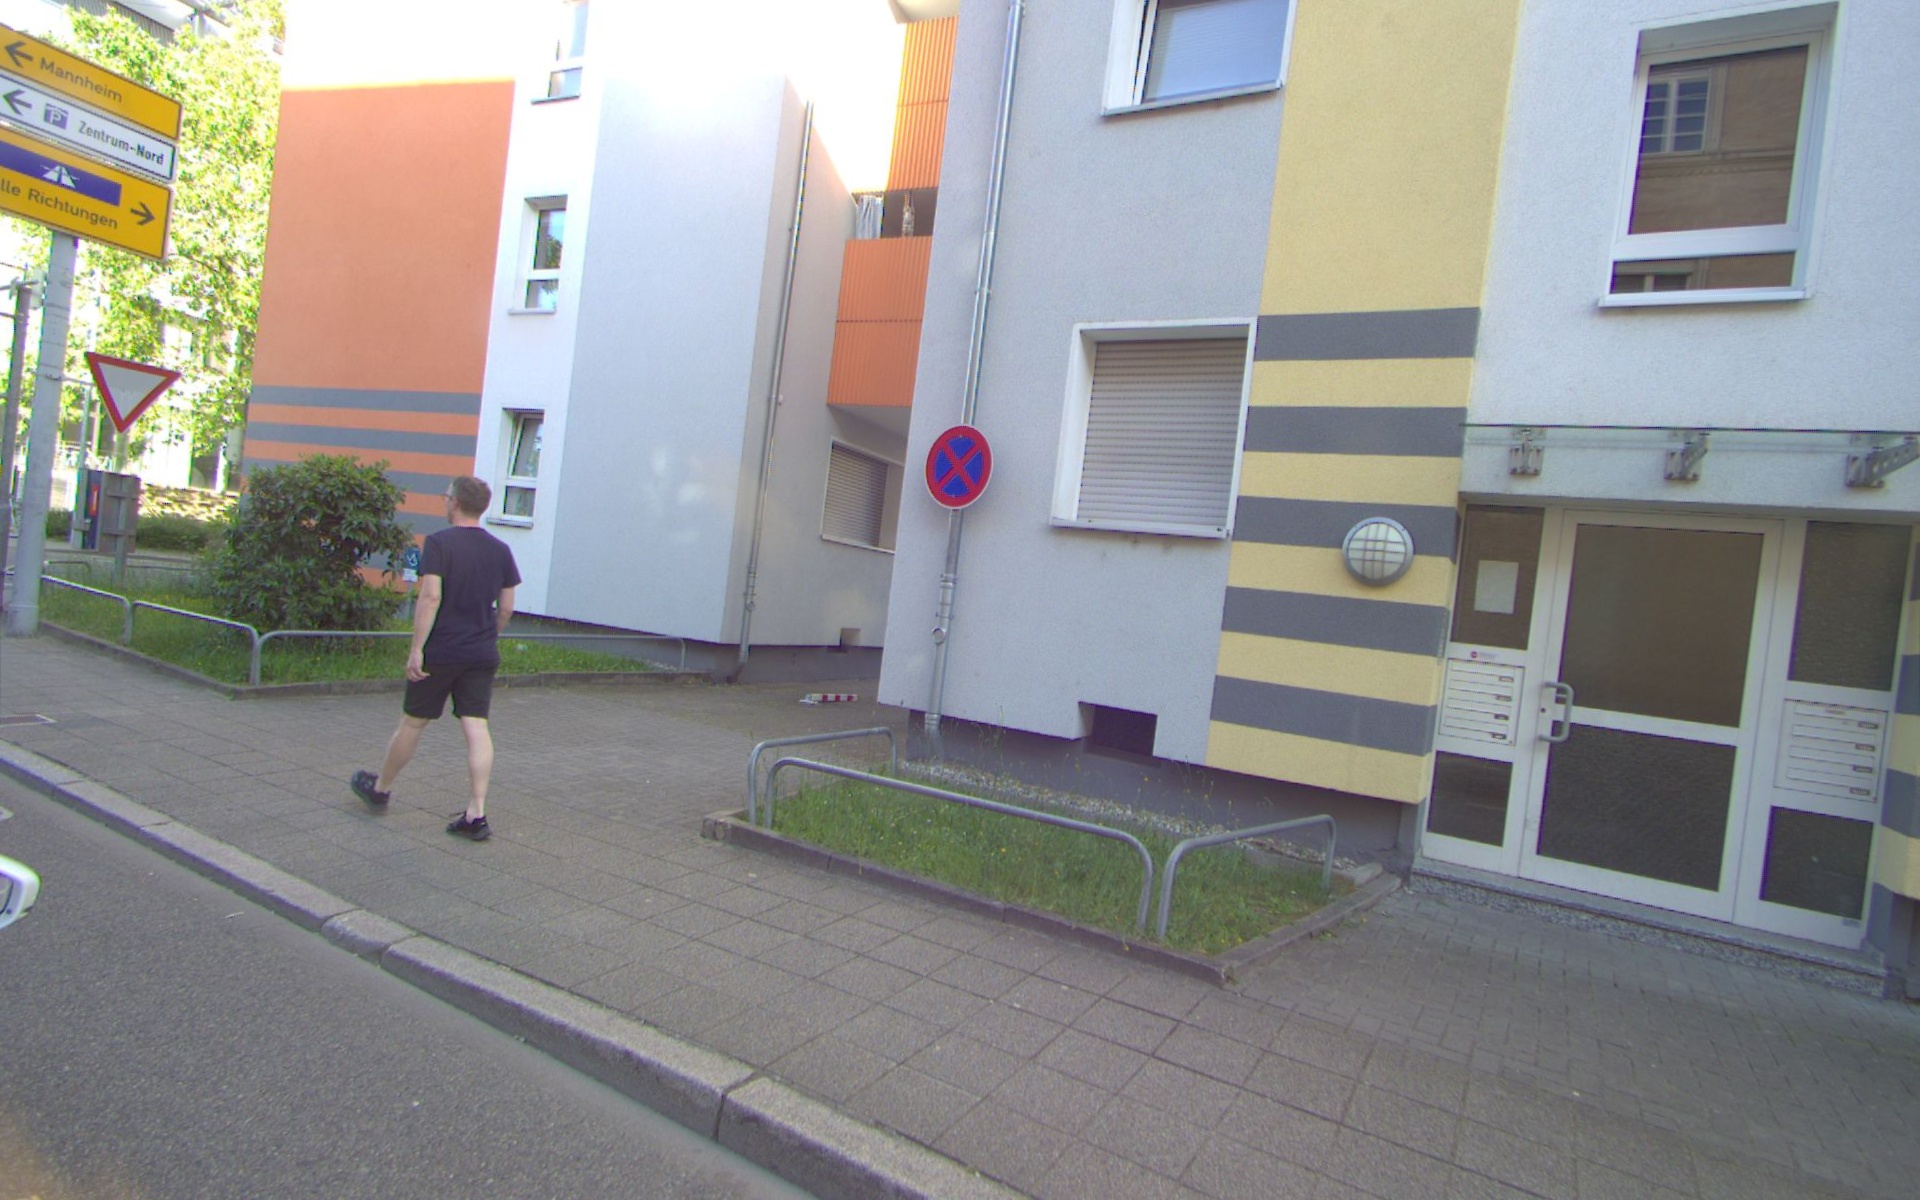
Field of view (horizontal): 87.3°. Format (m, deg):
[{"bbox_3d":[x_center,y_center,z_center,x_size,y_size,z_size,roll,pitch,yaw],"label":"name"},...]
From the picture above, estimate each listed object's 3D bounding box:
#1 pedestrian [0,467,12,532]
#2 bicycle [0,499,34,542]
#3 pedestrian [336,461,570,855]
[{"bbox_3d":[-28.040,-2.952,28.823,1.023,1.854,0.538,7,1,-10],"label":"pedestrian"},{"bbox_3d":[-26.415,-2.245,27.284,1.883,1.062,0.463,7,1,-10],"label":"bicycle"},{"bbox_3d":[-2.609,0.248,5.163,0.901,1.813,0.643,7,4,35],"label":"pedestrian"}]
